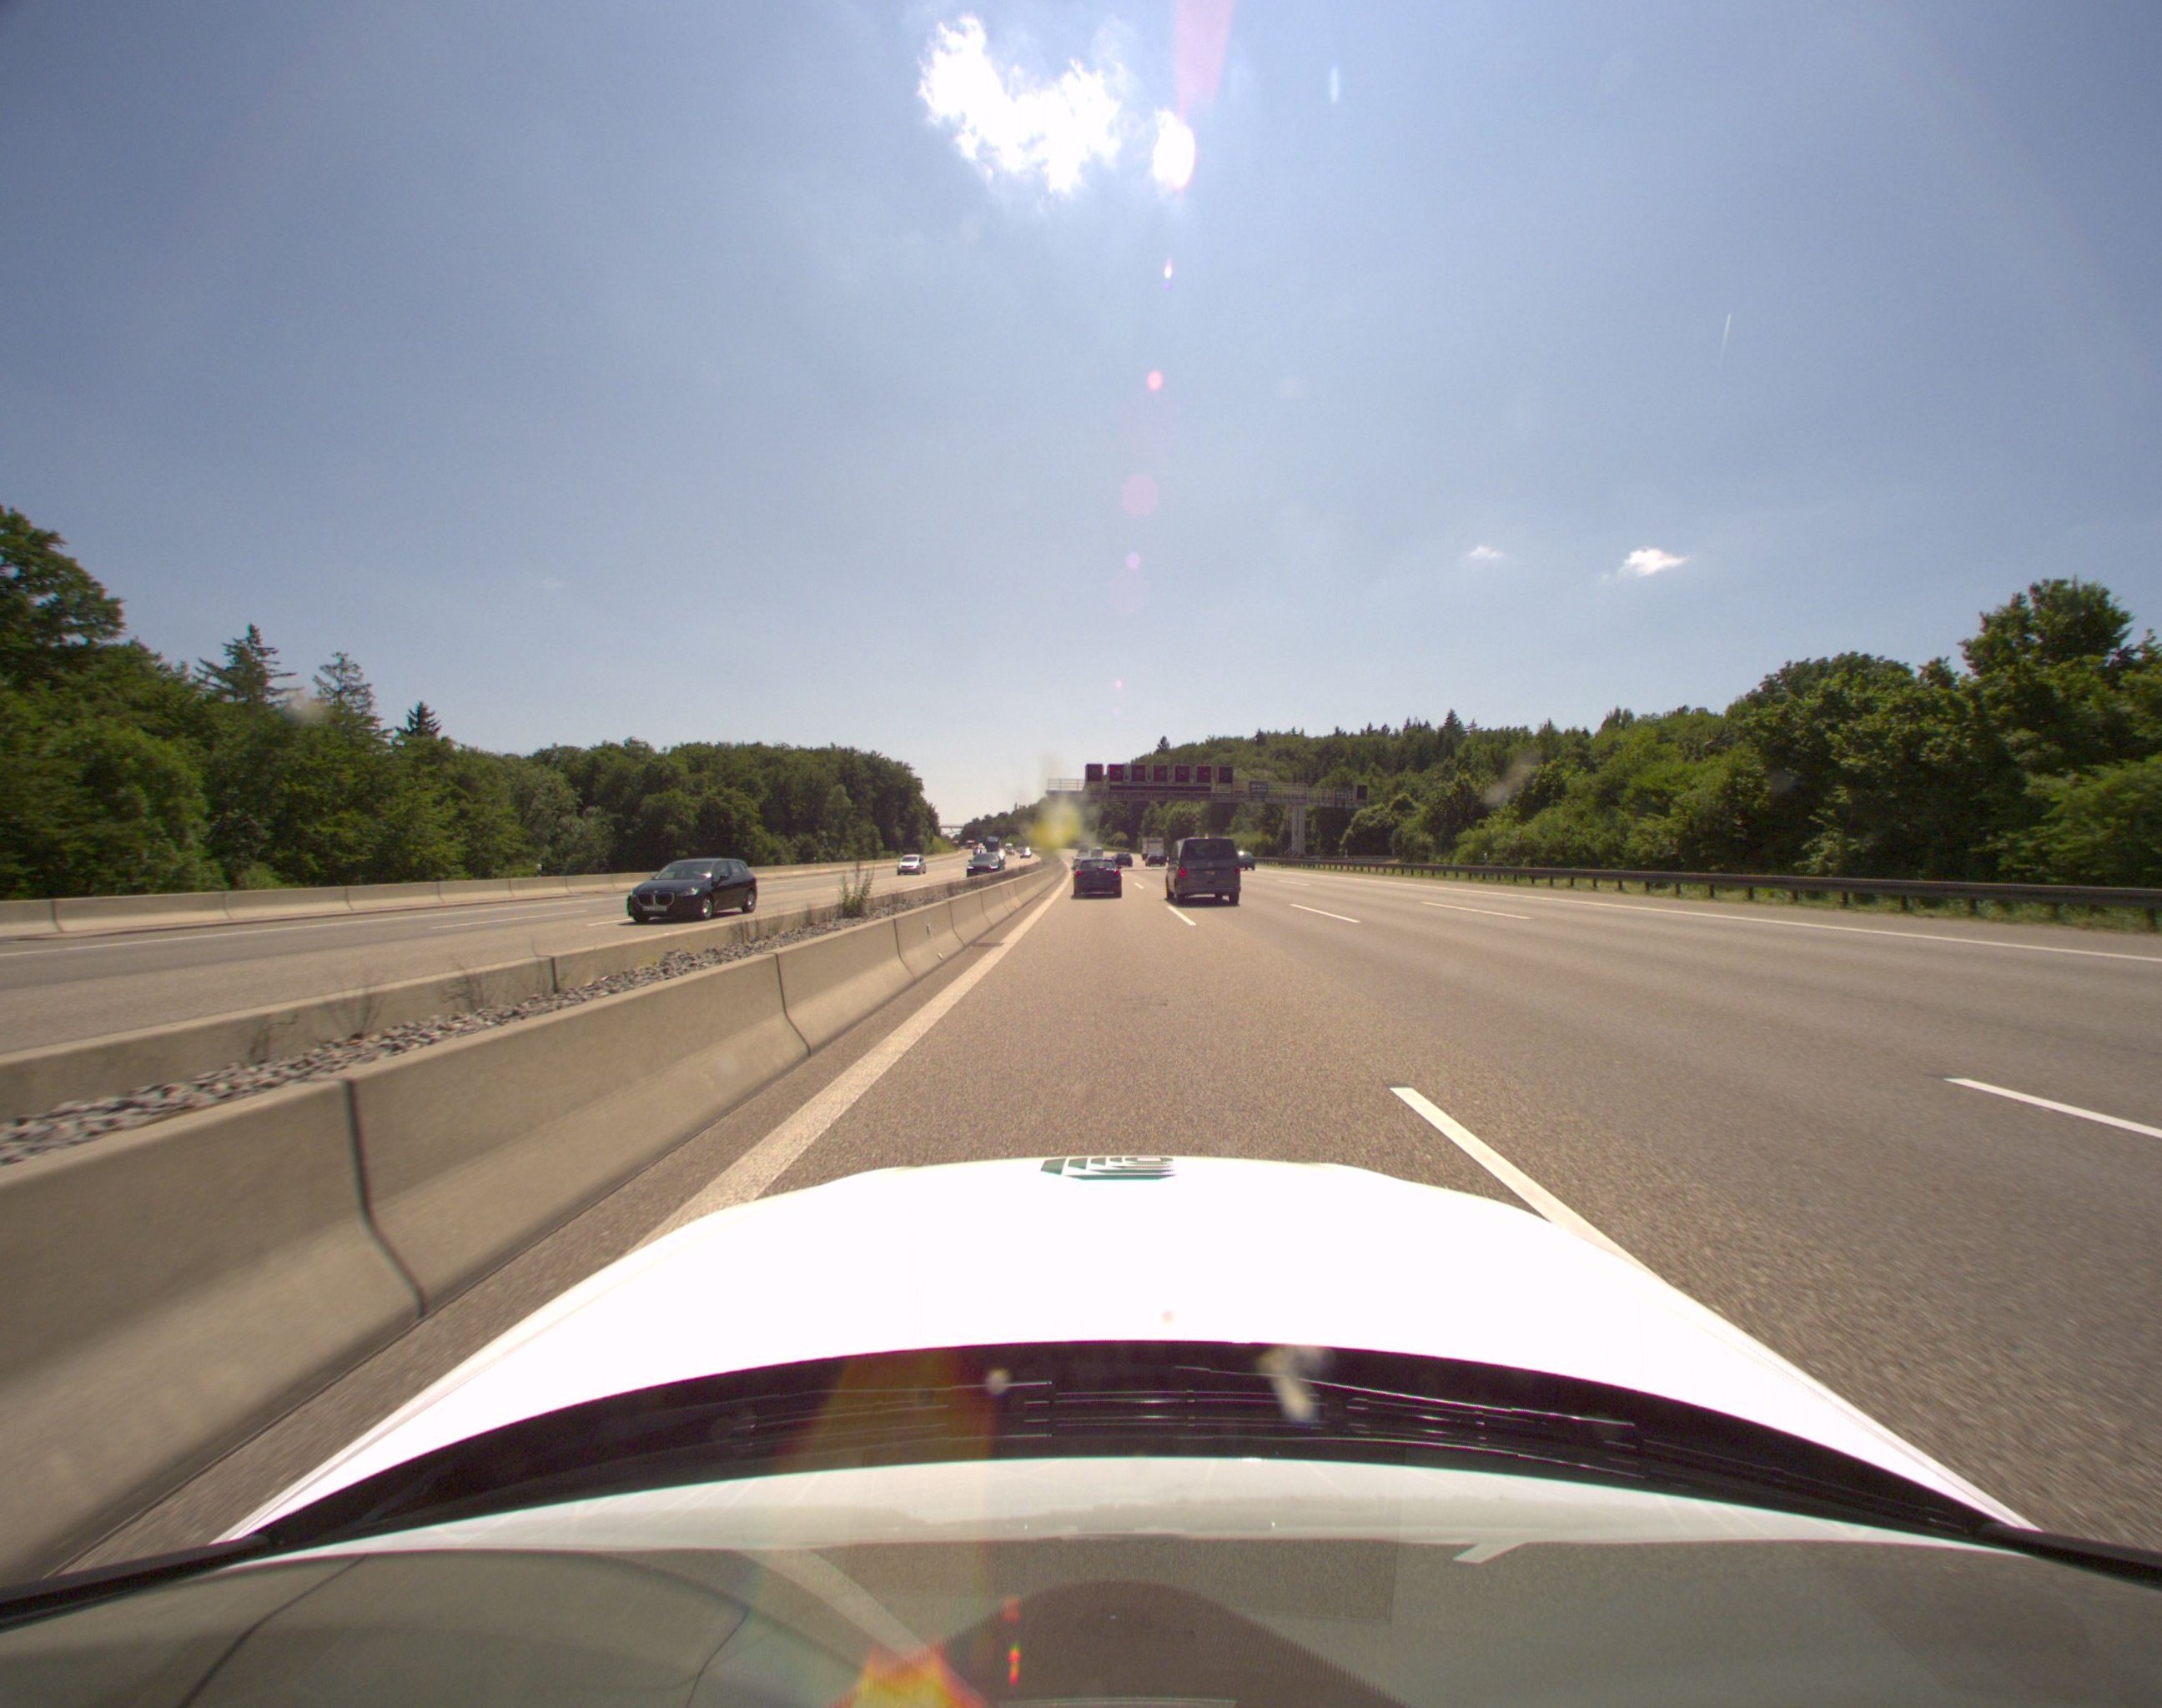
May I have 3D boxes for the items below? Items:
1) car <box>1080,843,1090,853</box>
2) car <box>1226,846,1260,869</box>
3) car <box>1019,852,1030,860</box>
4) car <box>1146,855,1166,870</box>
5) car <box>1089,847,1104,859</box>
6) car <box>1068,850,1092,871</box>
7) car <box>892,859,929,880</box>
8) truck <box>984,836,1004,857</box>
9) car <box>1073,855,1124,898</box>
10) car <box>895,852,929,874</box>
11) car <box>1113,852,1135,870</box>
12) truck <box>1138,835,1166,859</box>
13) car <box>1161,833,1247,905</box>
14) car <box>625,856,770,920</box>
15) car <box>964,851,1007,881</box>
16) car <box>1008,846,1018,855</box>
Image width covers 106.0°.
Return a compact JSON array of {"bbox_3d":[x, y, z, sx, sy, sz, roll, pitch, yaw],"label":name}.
[{"bbox_3d":[1.047,-1.408,197.410,2.257,2.371,4.702,-1,0,1],"label":"car"},{"bbox_3d":[12.391,0.253,62.656,1.985,1.728,4.003,-1,0,3],"label":"car"},{"bbox_3d":[-10.492,0.406,151.819,1.849,1.518,4.518,-1,0,-2],"label":"car"},{"bbox_3d":[7.472,0.813,81.480,1.659,1.408,4.905,-1,1,1],"label":"car"},{"bbox_3d":[2.387,-0.185,126.565,2.097,1.744,4.687,-1,1,0],"label":"car"},{"bbox_3d":[-0.118,0.629,77.127,2.008,1.846,3.994,-1,-3,-4],"label":"car"},{"bbox_3d":[-13.456,1.190,64.441,1.987,1.532,4.378,0,0,0],"label":"car"},{"bbox_3d":[-17.897,-1.554,167.411,3.777,4.177,5.873,0,0,-3],"label":"truck"},{"bbox_3d":[0.643,0.760,29.775,1.702,1.433,4.001,0,1,1],"label":"car"},{"bbox_3d":[-13.367,0.693,64.610,1.712,1.605,4.282,-1,0,1],"label":"car"},{"bbox_3d":[4.258,0.706,80.771,1.987,1.728,4.148,-1,-1,0],"label":"car"},{"bbox_3d":[10.072,-1.013,116.051,2.978,3.166,7.568,-1,1,-3],"label":"truck"},{"bbox_3d":[3.746,0.429,25.652,1.956,2.033,5.083,-1,0,1],"label":"car"},{"bbox_3d":[-10.103,0.829,21.869,1.755,1.520,4.363,-1,0,1],"label":"car"},{"bbox_3d":[-5.620,0.698,48.414,1.987,1.667,4.435,-1,0,1],"label":"car"},{"bbox_3d":[-15.452,-0.790,184.397,1.989,1.967,4.778,-1,0,-3],"label":"car"}]
